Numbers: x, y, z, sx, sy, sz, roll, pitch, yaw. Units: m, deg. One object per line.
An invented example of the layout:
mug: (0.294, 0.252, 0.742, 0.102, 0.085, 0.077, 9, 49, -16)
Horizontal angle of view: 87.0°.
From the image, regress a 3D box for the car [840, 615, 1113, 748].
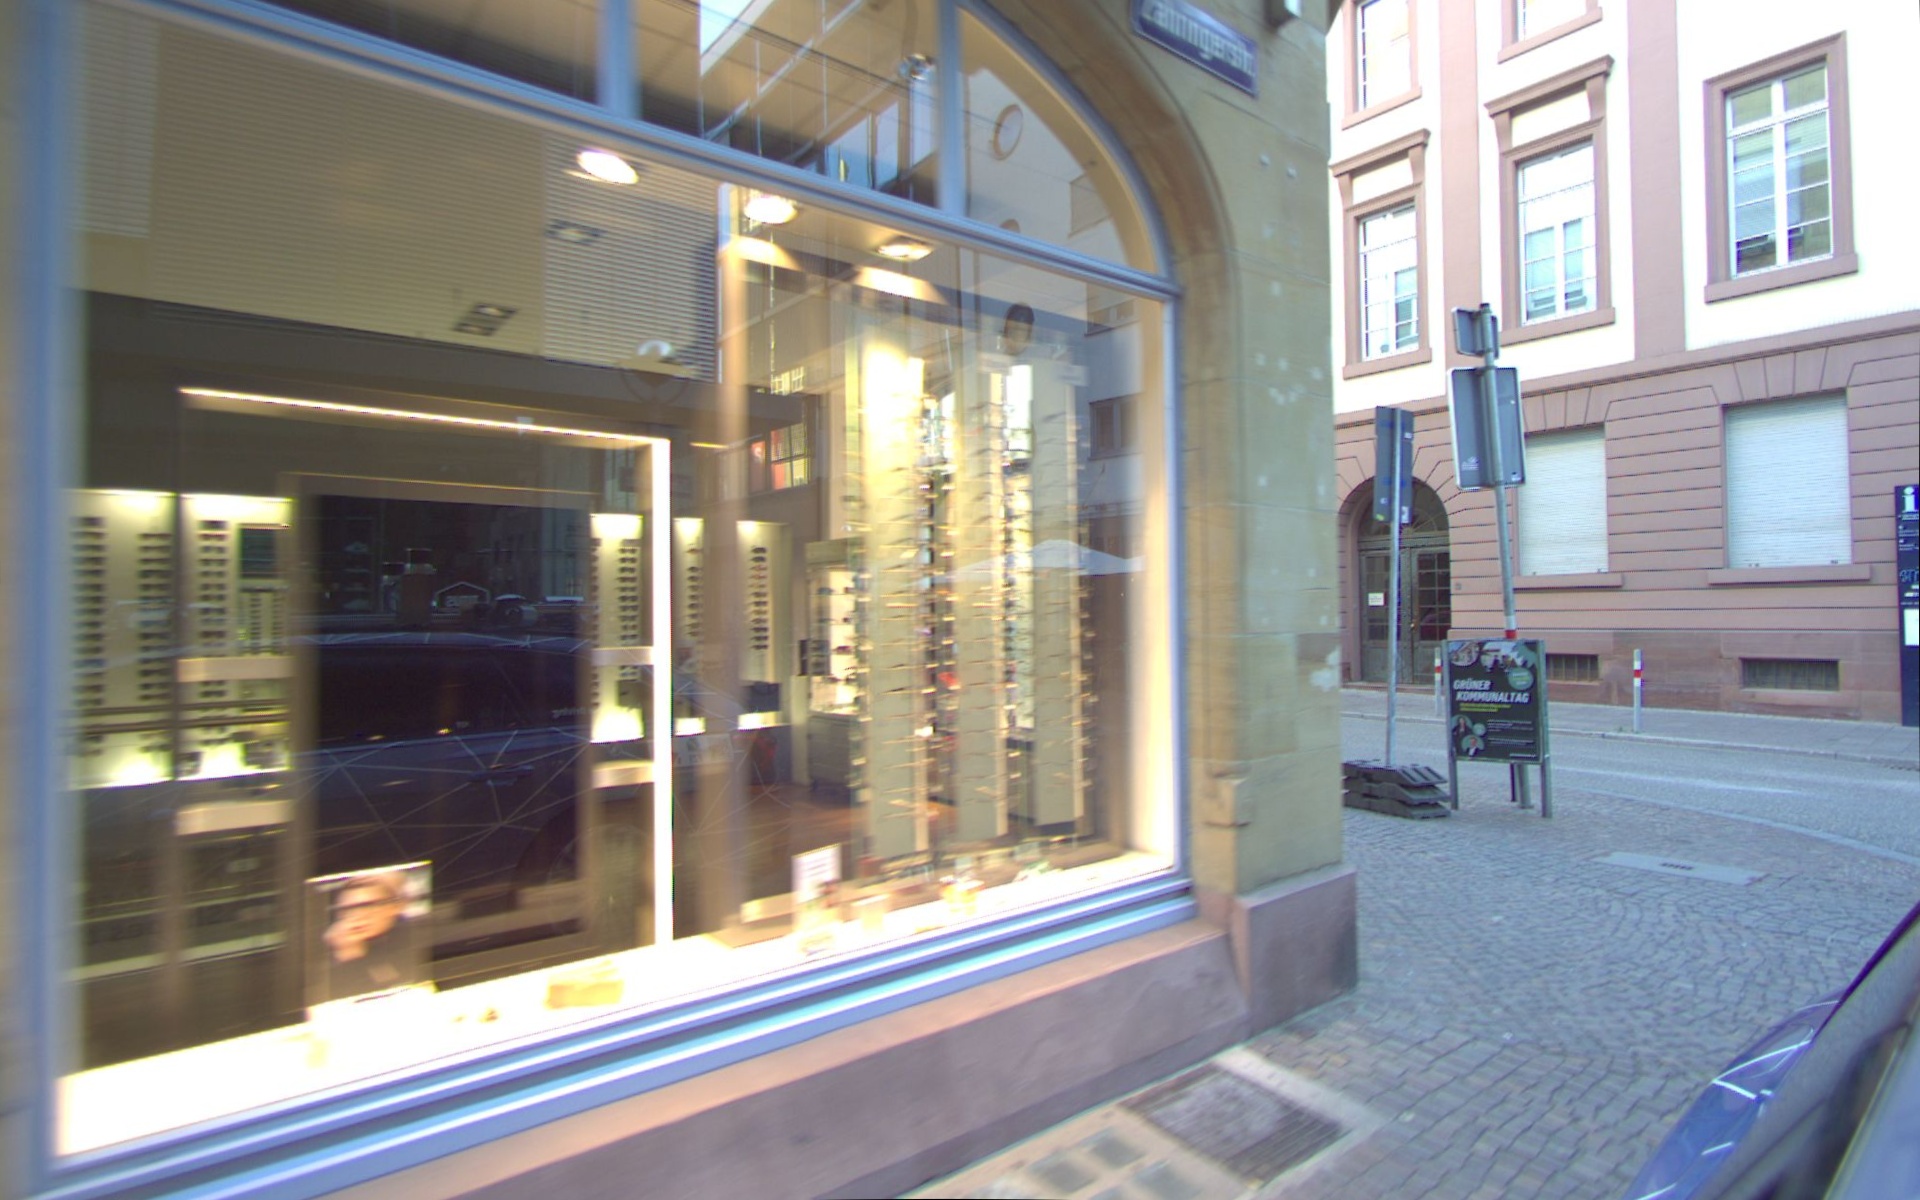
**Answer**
car: (0.081, 1.002, 13.971, 1.620, 1.460, 3.997, -3, 1, -36)
